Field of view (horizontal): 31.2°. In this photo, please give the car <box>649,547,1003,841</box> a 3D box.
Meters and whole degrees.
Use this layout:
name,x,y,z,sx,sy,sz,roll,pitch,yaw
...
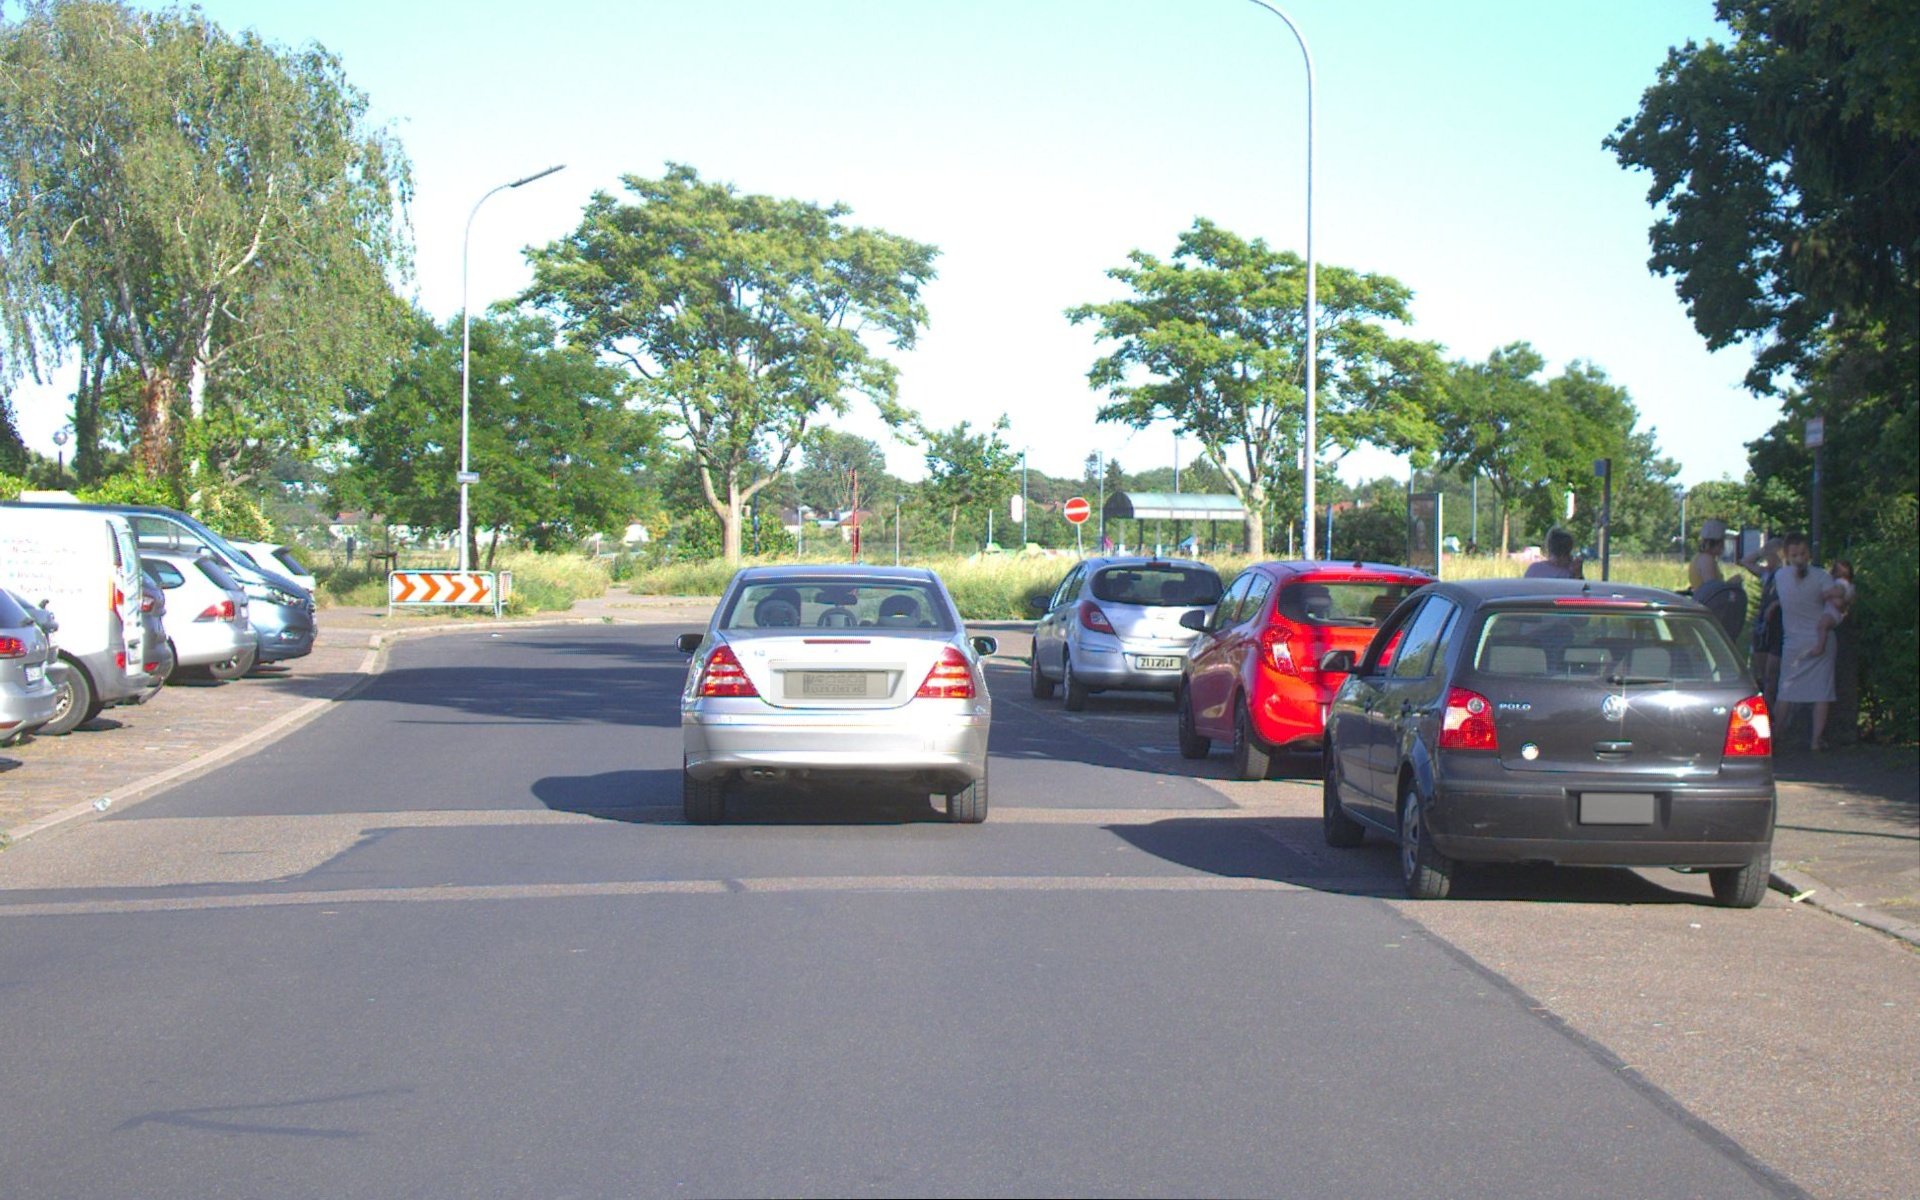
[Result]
name,x,y,z,sx,sy,sz,roll,pitch,yaw
car,-0.741,0.460,20.195,1.816,1.458,4.361,1,1,-1

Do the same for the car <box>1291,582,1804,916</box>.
name,x,y,z,sx,sy,sz,roll,pitch,yaw
car,2.723,0.634,16.767,1.647,1.398,3.882,1,0,-2

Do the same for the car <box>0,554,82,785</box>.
name,x,y,z,sx,sy,sz,roll,pitch,yaw
car,-7.865,0.373,23.011,3.513,1.484,1.637,2,0,-1

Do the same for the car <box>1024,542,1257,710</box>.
name,x,y,z,sx,sy,sz,roll,pitch,yaw
car,1.730,0.229,34.134,1.731,1.537,3.789,1,0,-6

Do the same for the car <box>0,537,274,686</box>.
name,x,y,z,sx,sy,sz,roll,pitch,yaw
car,-9.674,0.089,37.309,4.136,1.487,1.926,2,0,-5

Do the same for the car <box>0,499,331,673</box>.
name,x,y,z,sx,sy,sz,roll,pitch,yaw
car,-9.828,-0.175,39.901,4.870,1.909,2.000,1,0,-8

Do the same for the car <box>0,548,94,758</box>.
name,x,y,z,sx,sy,sz,roll,pitch,yaw
car,-8.391,0.306,25.376,3.513,1.484,1.728,2,0,-1

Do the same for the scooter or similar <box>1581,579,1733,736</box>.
name,x,y,z,sx,sy,sz,roll,pitch,yaw
scooter or similar,5.541,0.445,27.368,0.399,1.223,1.254,-1,0,-34

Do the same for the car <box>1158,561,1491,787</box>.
name,x,y,z,sx,sy,sz,roll,pitch,yaw
car,2.485,0.464,24.258,1.575,1.441,3.789,1,0,-6

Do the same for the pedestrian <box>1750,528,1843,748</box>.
name,x,y,z,sx,sy,sz,roll,pitch,yaw
pedestrian,6.010,0.271,24.711,0.485,1.559,0.469,-1,0,-7

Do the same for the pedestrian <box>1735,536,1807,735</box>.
name,x,y,z,sx,sy,sz,roll,pitch,yaw
pedestrian,6.195,0.269,26.280,0.361,1.498,0.501,-1,0,-6

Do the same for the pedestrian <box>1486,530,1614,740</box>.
name,x,y,z,sx,sy,sz,roll,pitch,yaw
pedestrian,4.511,0.261,26.322,0.787,1.559,0.570,2,0,-4

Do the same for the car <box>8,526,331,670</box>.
name,x,y,z,sx,sy,sz,roll,pitch,yaw
car,-9.753,-0.032,42.626,3.611,1.601,1.733,2,0,-4

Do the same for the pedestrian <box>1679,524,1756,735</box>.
name,x,y,z,sx,sy,sz,roll,pitch,yaw
pedestrian,5.689,0.222,25.837,0.481,1.559,0.597,-1,0,7

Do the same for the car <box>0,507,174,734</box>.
name,x,y,z,sx,sy,sz,roll,pitch,yaw
car,-8.579,0.108,28.116,3.976,1.774,1.926,1,1,-7

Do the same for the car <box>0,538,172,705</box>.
name,x,y,z,sx,sy,sz,roll,pitch,yaw
car,-9.503,0.171,32.619,3.813,1.527,1.790,1,0,-9

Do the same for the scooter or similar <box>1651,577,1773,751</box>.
name,x,y,z,sx,sy,sz,roll,pitch,yaw
scooter or similar,5.409,0.450,24.766,0.623,1.223,0.905,0,0,-4
